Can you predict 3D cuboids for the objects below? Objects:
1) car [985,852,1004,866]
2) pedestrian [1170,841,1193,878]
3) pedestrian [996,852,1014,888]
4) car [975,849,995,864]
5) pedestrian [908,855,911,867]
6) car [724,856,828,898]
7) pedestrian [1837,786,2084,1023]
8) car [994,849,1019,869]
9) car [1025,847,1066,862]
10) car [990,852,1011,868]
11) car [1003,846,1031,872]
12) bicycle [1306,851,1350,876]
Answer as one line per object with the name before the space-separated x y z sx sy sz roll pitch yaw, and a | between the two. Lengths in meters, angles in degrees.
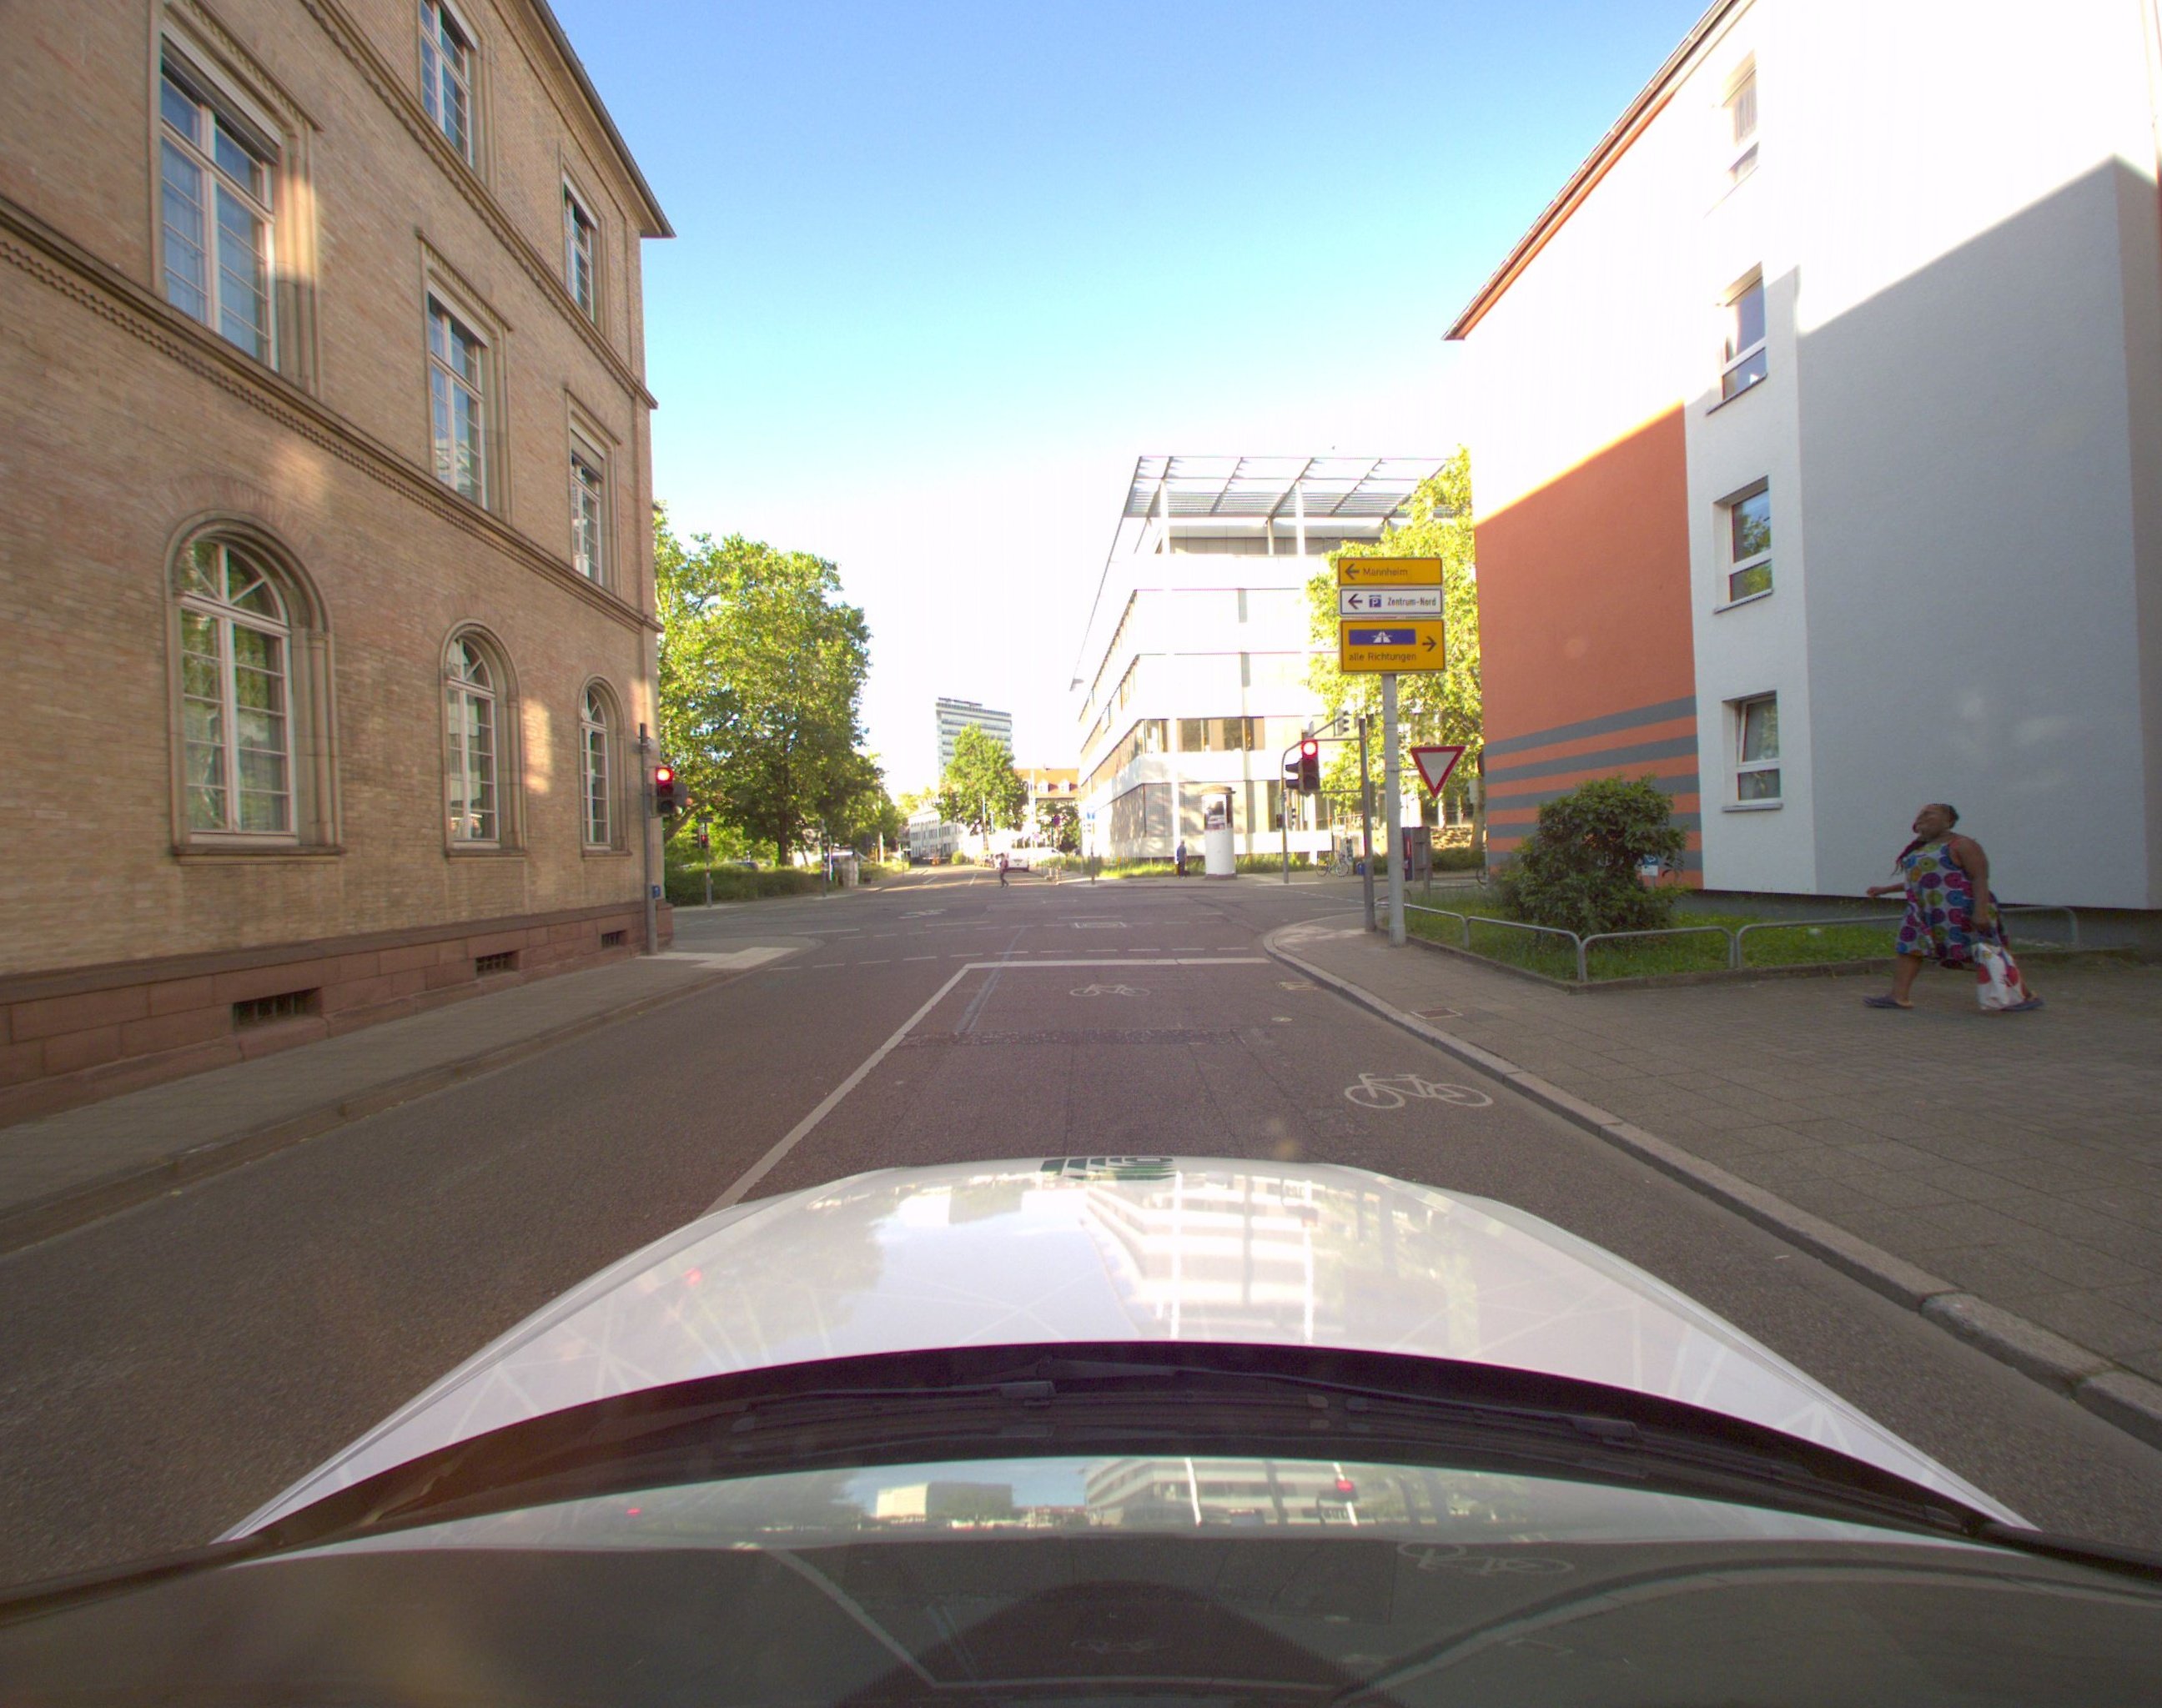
car | -9.202 0.512 86.261 1.704 1.464 4.225 -2 0 -9
pedestrian | 4.794 0.258 38.893 0.658 1.736 0.802 -2 0 -43
pedestrian | -3.458 0.715 37.082 0.710 1.599 0.616 -2 0 -3
car | -11.318 0.281 96.142 2.100 1.658 4.461 -2 0 -9
pedestrian | -23.398 0.946 111.099 0.380 1.534 0.444 -2 0 -10
car | -14.403 1.053 38.656 4.219 1.777 1.901 -2 0 -7
pedestrian | 6.453 0.344 6.048 0.743 1.573 0.960 -5 0 9
car | -7.066 0.462 76.733 1.947 1.795 4.223 -2 0 -11
car | -4.531 0.058 103.183 4.889 1.872 1.990 -1 -1 -15
car | -8.119 0.596 81.798 1.705 1.424 4.221 -2 0 -11
car | -5.132 0.390 64.952 2.065 1.963 4.228 -2 0 -7
bicycle | 10.899 0.433 36.014 0.467 1.049 1.893 -2 0 -40
